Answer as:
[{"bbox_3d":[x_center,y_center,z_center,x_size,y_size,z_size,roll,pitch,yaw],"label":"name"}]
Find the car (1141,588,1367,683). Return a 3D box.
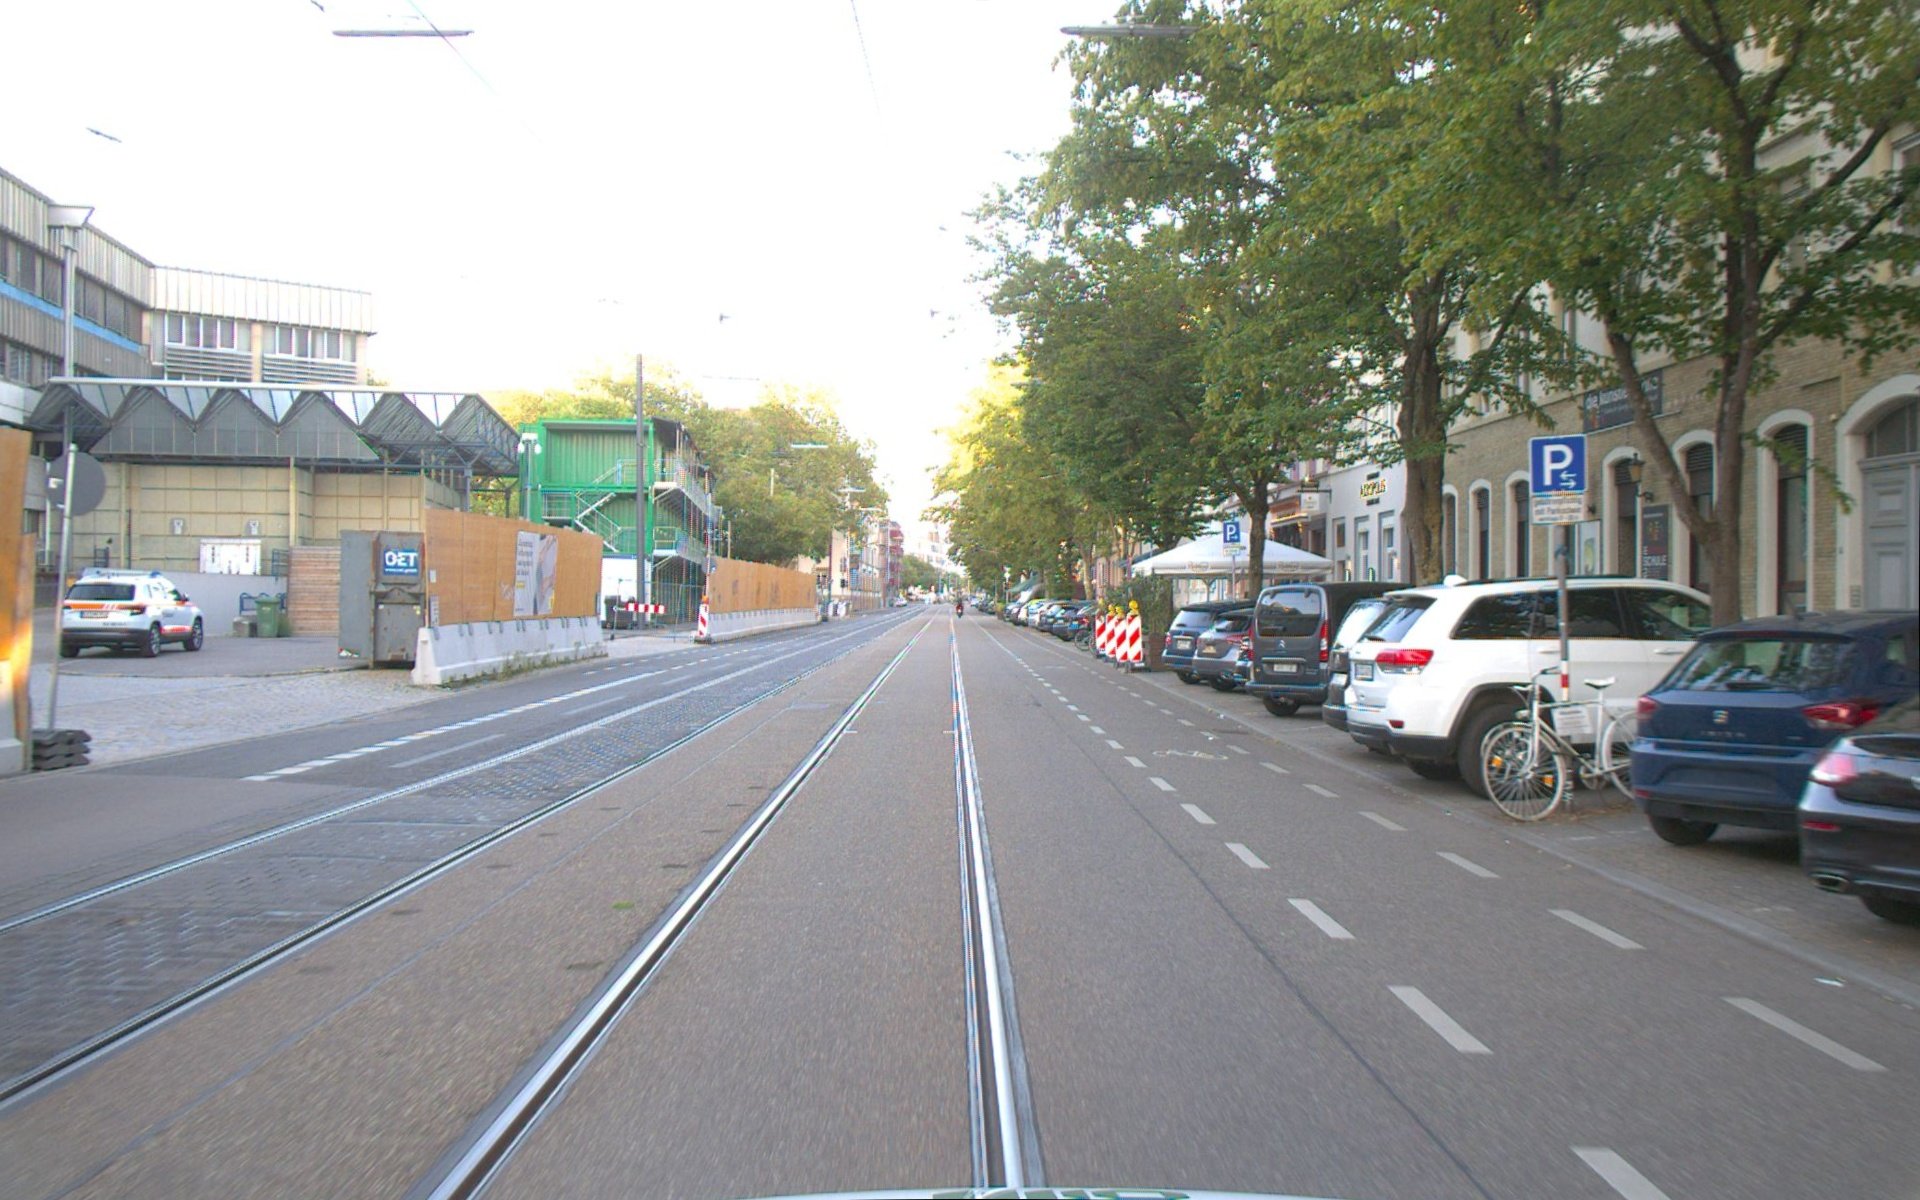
[{"bbox_3d":[5.499,0.627,30.920,3.913,1.580,1.692,-2,0,-26],"label":"car"}]

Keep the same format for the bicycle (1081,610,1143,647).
[{"bbox_3d":[4.801,0.888,52.217,1.865,1.049,0.533,-3,0,-3],"label":"bicycle"}]

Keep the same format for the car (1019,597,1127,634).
[{"bbox_3d":[4.722,0.644,68.933,4.063,1.496,2.000,0,0,-25],"label":"car"}]

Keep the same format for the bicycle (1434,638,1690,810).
[{"bbox_3d":[4.500,0.904,12.360,1.804,1.122,0.496,-3,1,-15],"label":"bicycle"}]

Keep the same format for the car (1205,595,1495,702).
[{"bbox_3d":[6.147,0.716,26.002,4.258,1.413,1.791,-3,0,-26],"label":"car"}]

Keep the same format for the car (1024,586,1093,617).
[{"bbox_3d":[5.642,0.092,95.106,3.869,1.648,1.921,-1,-1,0],"label":"car"}]

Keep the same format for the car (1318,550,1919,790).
[{"bbox_3d":[5.587,0.541,14.135,4.555,1.717,2.007,-2,0,-2],"label":"car"}]

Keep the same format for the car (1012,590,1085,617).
[{"bbox_3d":[5.296,0.215,98.930,3.899,1.512,1.906,-1,-1,-25],"label":"car"}]

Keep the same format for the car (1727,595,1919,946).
[{"bbox_3d":[5.979,0.655,7.830,4.155,1.451,1.962,-3,0,-23],"label":"car"}]

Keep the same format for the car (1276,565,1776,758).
[{"bbox_3d":[5.872,0.597,17.496,4.559,1.717,2.005,-2,0,-6],"label":"car"}]

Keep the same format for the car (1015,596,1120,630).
[{"bbox_3d":[4.768,0.573,73.331,4.195,1.416,2.000,-1,0,-24],"label":"car"}]

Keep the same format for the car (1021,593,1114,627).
[{"bbox_3d":[5.298,0.503,81.649,4.175,1.576,2.014,-1,0,-11],"label":"car"}]

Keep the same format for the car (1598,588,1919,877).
[{"bbox_3d":[6.083,0.687,10.481,3.700,1.451,1.713,-3,0,-25],"label":"car"}]

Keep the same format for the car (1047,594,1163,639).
[{"bbox_3d":[5.599,0.619,64.011,4.052,1.496,1.814,-3,0,-18],"label":"car"}]

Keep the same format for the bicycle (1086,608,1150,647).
[{"bbox_3d":[4.850,0.840,50.938,1.849,1.086,0.674,-3,0,-2],"label":"bicycle"}]

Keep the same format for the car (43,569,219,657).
[{"bbox_3d":[-17.170,0.258,34.488,1.956,1.693,4.272,1,0,-8],"label":"car"}]

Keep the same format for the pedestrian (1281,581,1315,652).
[{"bbox_3d":[8.621,0.413,42.229,0.541,1.794,0.850,0,0,-13],"label":"pedestrian"}]

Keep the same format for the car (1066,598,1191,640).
[{"bbox_3d":[6.023,0.674,59.085,4.099,1.451,1.813,0,0,-20],"label":"car"}]

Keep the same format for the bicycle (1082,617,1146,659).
[{"bbox_3d":[4.204,1.046,45.284,1.645,1.049,0.556,-3,0,-2],"label":"bicycle"}]

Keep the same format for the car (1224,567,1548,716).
[{"bbox_3d":[5.928,0.520,22.971,4.102,1.838,1.988,-2,0,-29],"label":"car"}]

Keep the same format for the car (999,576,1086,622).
[{"bbox_3d":[5.187,-0.052,103.646,5.015,2.689,2.012,-2,0,-17],"label":"car"}]

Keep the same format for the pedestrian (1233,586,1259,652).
[{"bbox_3d":[7.889,0.527,45.670,0.539,1.794,0.894,1,0,-1],"label":"pedestrian"}]

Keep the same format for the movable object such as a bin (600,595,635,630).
[{"bbox_3d":[-13.915,0.520,67.136,1.280,1.393,0.783,1,0,-4],"label":"movable object such as a bin"}]

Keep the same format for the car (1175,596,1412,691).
[{"bbox_3d":[5.733,0.715,28.429,3.726,1.432,1.692,-2,0,-26],"label":"car"}]
